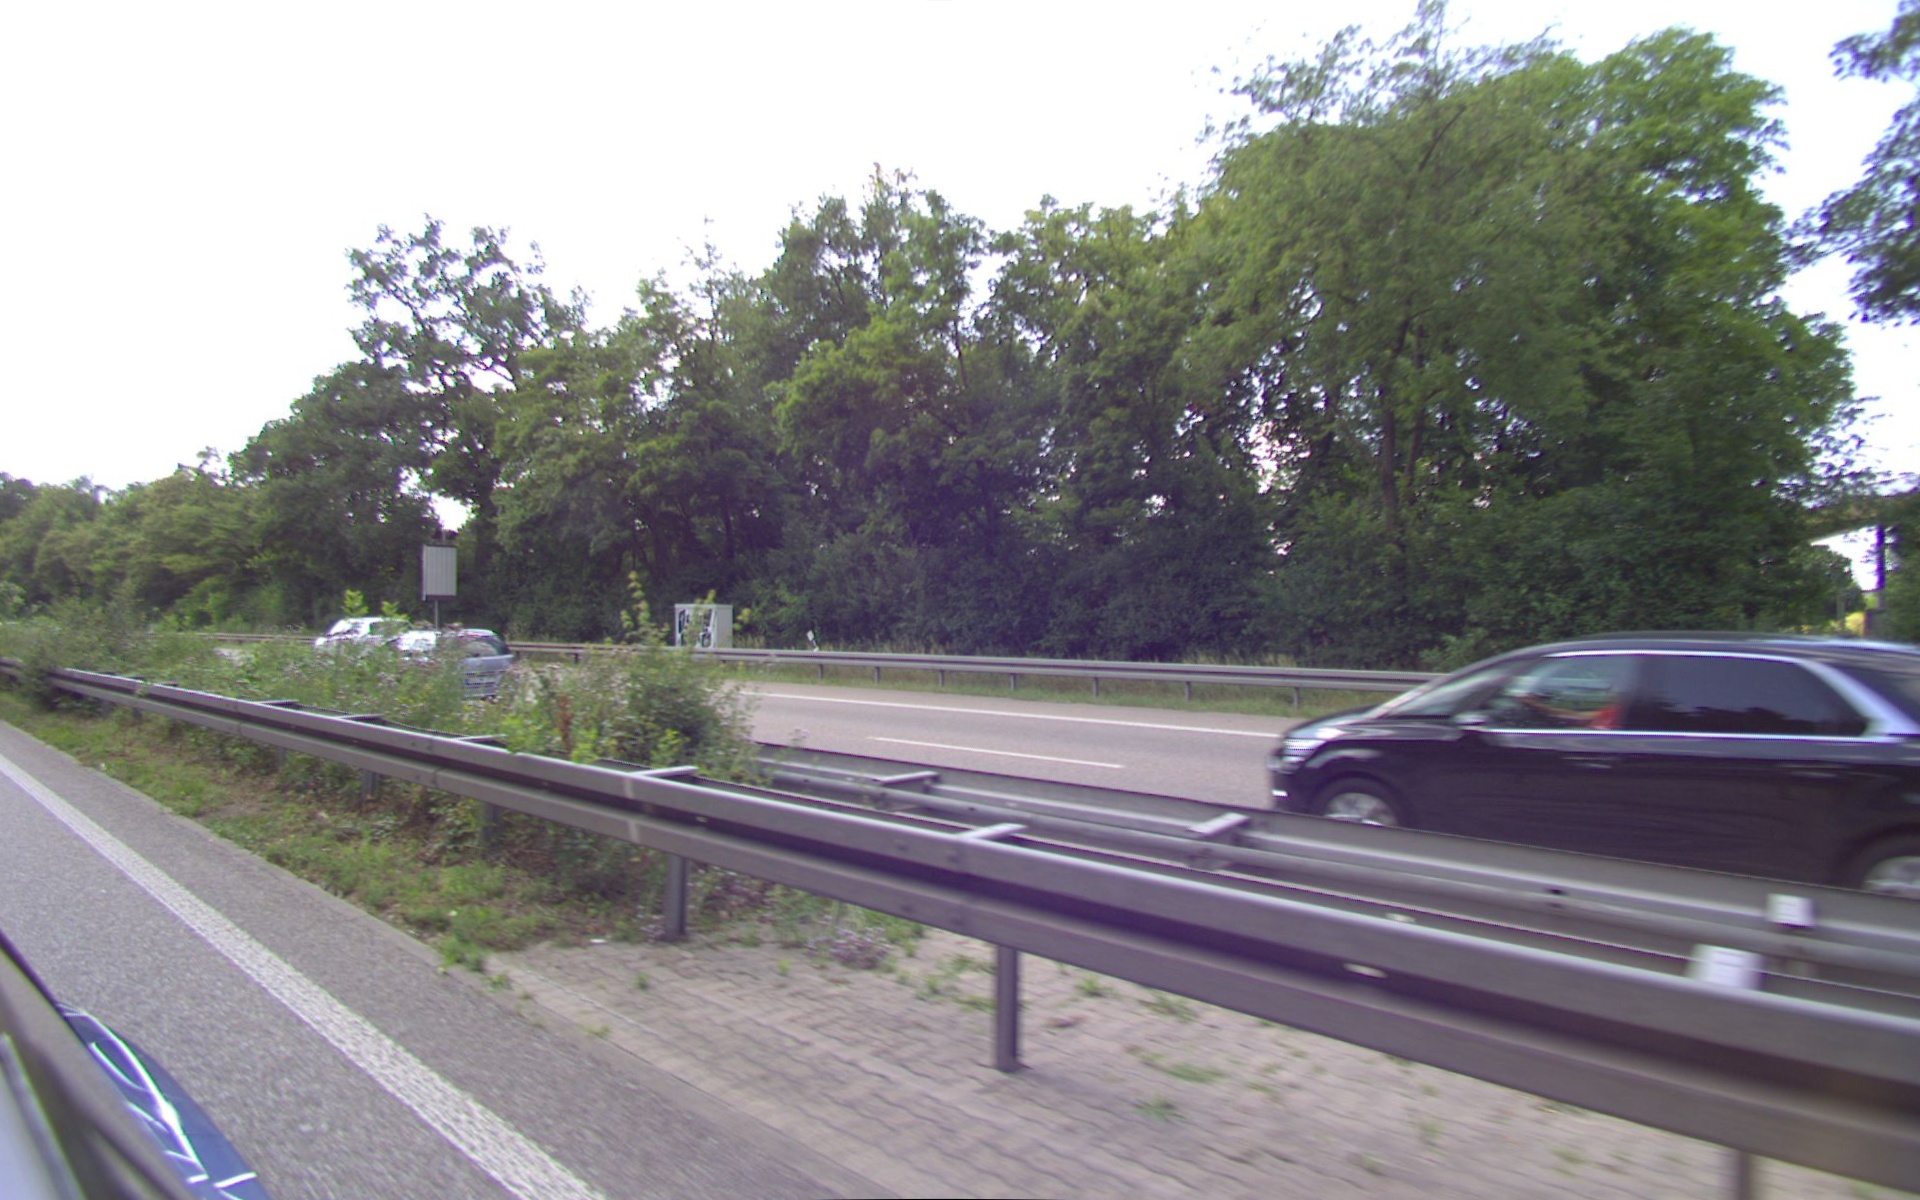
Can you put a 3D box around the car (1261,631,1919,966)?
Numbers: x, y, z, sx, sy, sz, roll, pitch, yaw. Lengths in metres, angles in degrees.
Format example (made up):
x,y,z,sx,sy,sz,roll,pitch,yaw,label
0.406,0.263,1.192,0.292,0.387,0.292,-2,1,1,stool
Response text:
x,y,z,sx,sy,sz,roll,pitch,yaw,label
4.425,0.998,6.287,4.562,1.601,1.846,-1,-2,41,car

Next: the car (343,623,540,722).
x,y,z,sx,sy,sz,roll,pitch,yaw,label
-9.566,1.236,18.546,4.136,1.600,1.802,-1,-2,41,car

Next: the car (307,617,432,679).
x,y,z,sx,sy,sz,roll,pitch,yaw,label
-18.065,1.426,30.866,4.877,1.752,1.768,-1,-2,40,car
